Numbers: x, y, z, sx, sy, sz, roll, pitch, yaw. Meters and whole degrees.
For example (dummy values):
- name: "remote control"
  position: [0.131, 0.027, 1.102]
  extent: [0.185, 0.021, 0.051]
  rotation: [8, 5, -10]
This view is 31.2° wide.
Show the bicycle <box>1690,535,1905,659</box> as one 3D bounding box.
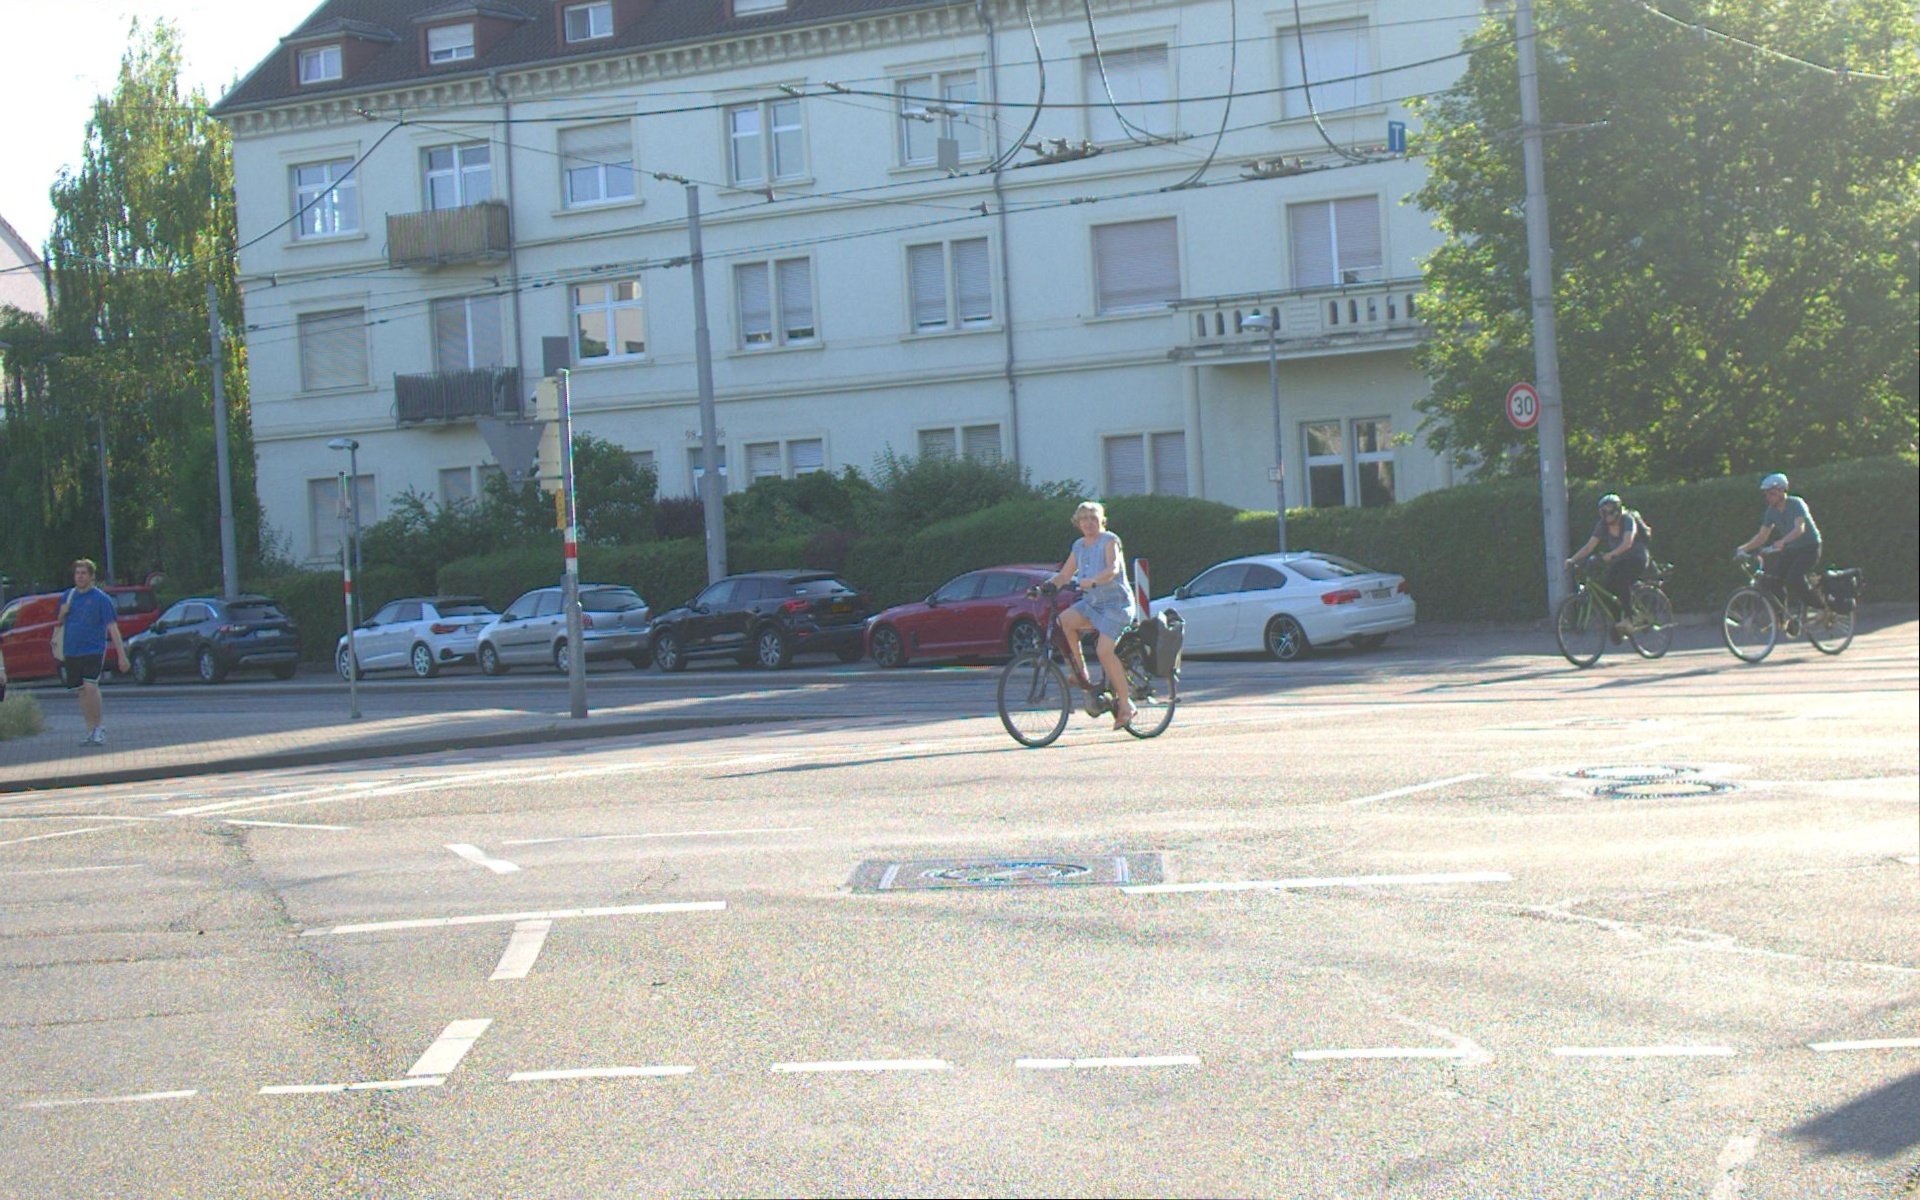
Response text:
- name: "bicycle"
  position: [7.954, -0.031, 32.638]
  extent: [2.012, 1.065, 0.663]
  rotation: [-3, 1, -29]

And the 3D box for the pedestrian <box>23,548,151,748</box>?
- name: "pedestrian"
  position: [-8.729, 0.468, 34.414]
  extent: [0.912, 1.918, 1.067]
  rotation: [-3, 1, 0]

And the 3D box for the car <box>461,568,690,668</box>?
- name: "car"
  position: [-6.496, 0.322, 57.882]
  extent: [1.982, 1.442, 3.717]
  rotation: [-7, 3, -41]

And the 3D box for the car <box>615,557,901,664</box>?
- name: "car"
  position: [-3.261, 0.188, 54.635]
  extent: [1.982, 1.442, 4.703]
  rotation: [-7, 3, -41]

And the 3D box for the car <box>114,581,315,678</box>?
- name: "car"
  position: [-14.610, 0.598, 67.214]
  extent: [1.840, 1.662, 4.368]
  rotation: [-7, 3, -41]

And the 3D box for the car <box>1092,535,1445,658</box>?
- name: "car"
  position: [4.089, -0.026, 46.128]
  extent: [1.926, 1.371, 4.494]
  rotation: [-7, 3, -42]

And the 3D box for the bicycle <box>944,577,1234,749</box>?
- name: "bicycle"
  position: [0.915, 0.426, 23.976]
  extent: [2.013, 1.065, 0.663]
  rotation: [-4, 1, -38]

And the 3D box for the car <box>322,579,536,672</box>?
- name: "car"
  position: [-9.509, 0.465, 61.377]
  extent: [1.840, 1.442, 3.957]
  rotation: [-7, 3, -41]

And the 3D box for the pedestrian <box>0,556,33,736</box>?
- name: "pedestrian"
  position: [-9.736, 0.461, 33.717]
  extent: [0.912, 1.741, 1.067]
  rotation: [-3, 1, 0]

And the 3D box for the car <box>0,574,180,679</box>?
- name: "car"
  position: [-18.646, 0.580, 72.255]
  extent: [2.051, 1.955, 5.148]
  rotation: [-7, 3, -41]

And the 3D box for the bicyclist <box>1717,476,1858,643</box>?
- name: "bicyclist"
  position: [7.867, -0.382, 32.688]
  extent: [1.034, 1.526, 0.698]
  rotation: [-3, 1, -29]

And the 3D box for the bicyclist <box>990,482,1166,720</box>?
- name: "bicyclist"
  position: [0.824, 0.006, 24.037]
  extent: [0.855, 1.600, 0.777]
  rotation: [-3, 1, -33]

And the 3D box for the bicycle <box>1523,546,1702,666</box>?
- name: "bicycle"
  position: [6.466, 0.052, 34.010]
  extent: [2.014, 1.065, 0.663]
  rotation: [-4, 1, -44]

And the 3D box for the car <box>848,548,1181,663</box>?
- name: "car"
  position: [0.750, 0.101, 50.125]
  extent: [4.702, 1.371, 1.982]
  rotation: [-2, 3, 44]

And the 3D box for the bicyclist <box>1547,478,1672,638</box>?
- name: "bicyclist"
  position: [6.428, -0.416, 34.003]
  extent: [1.035, 1.526, 0.660]
  rotation: [-4, 1, -44]
